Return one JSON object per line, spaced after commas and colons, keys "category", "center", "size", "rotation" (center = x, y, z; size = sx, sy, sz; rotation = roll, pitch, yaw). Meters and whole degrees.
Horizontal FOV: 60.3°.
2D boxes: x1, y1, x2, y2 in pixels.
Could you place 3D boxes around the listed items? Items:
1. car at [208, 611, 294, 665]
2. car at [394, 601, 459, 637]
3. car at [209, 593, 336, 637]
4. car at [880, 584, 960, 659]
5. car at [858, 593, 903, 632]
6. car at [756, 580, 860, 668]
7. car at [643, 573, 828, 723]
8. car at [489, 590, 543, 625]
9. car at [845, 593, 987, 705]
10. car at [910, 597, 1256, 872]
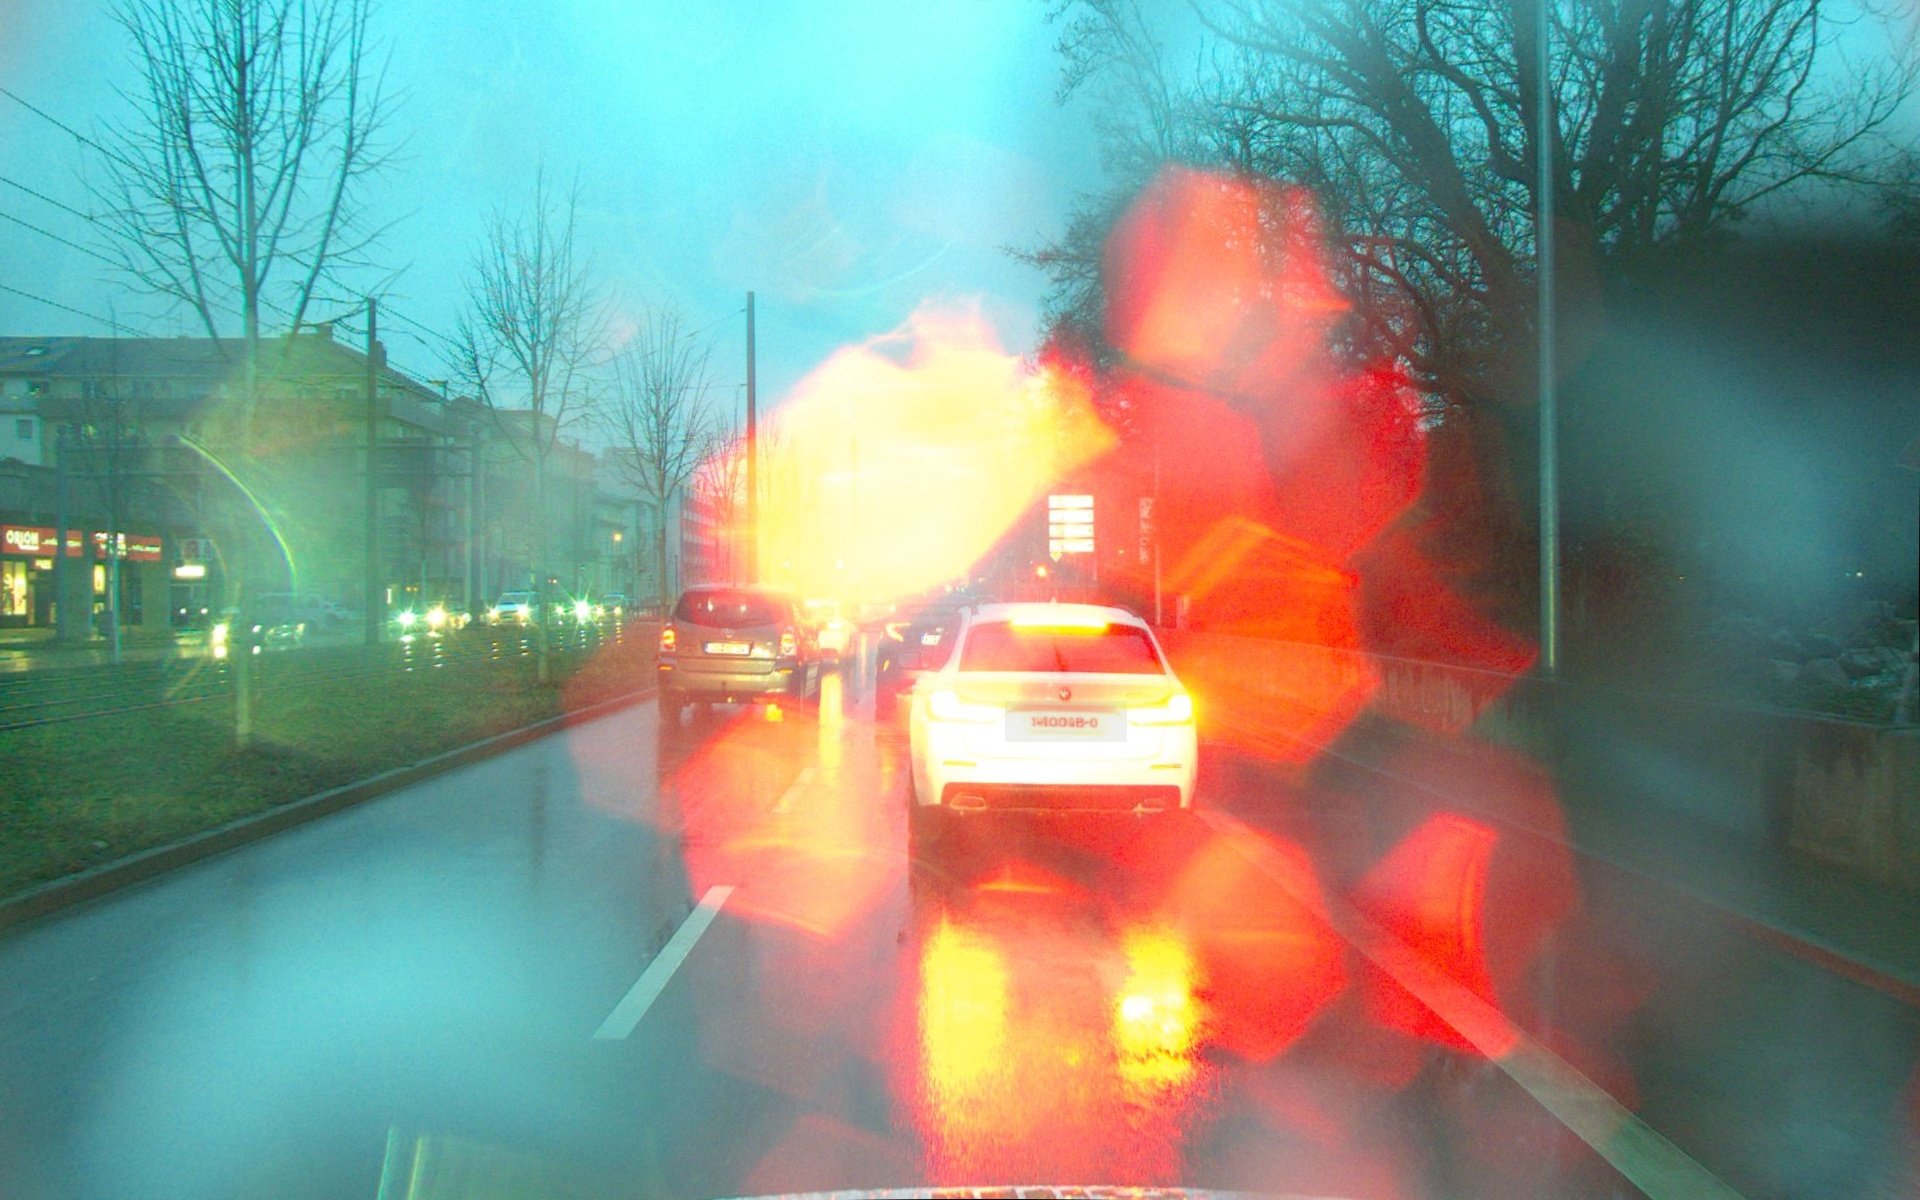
{"category": "car", "center": [-26.487, 1.380, 61.894], "size": [1.688, 1.918, 3.923], "rotation": [0, 0, -3]}
{"category": "car", "center": [-23.137, 0.804, 71.866], "size": [1.859, 1.456, 3.703], "rotation": [0, 0, -4]}
{"category": "car", "center": [-32.143, 0.660, 77.425], "size": [1.966, 1.945, 5.128], "rotation": [-1, 0, 44]}
{"category": "car", "center": [-0.908, 0.482, 39.326], "size": [1.770, 1.674, 4.000], "rotation": [1, 0, 0]}
{"category": "car", "center": [-3.501, 0.530, 73.146], "size": [1.770, 1.674, 4.000], "rotation": [1, 0, 0]}
{"category": "car", "center": [-3.284, 0.505, 36.453], "size": [1.953, 1.785, 3.999], "rotation": [1, 0, -1]}
{"category": "car", "center": [-2.715, 0.539, 20.840], "size": [1.770, 1.674, 4.000], "rotation": [1, 0, 0]}
{"category": "car", "center": [-23.424, 0.379, 87.343], "size": [1.859, 1.749, 5.113], "rotation": [0, 0, -5]}
{"category": "car", "center": [-0.600, 0.646, 24.192], "size": [1.896, 1.483, 4.163], "rotation": [1, 0, 0]}
{"category": "car", "center": [0.687, 0.762, 11.484], "size": [1.958, 1.534, 4.163], "rotation": [1, 0, 0]}
